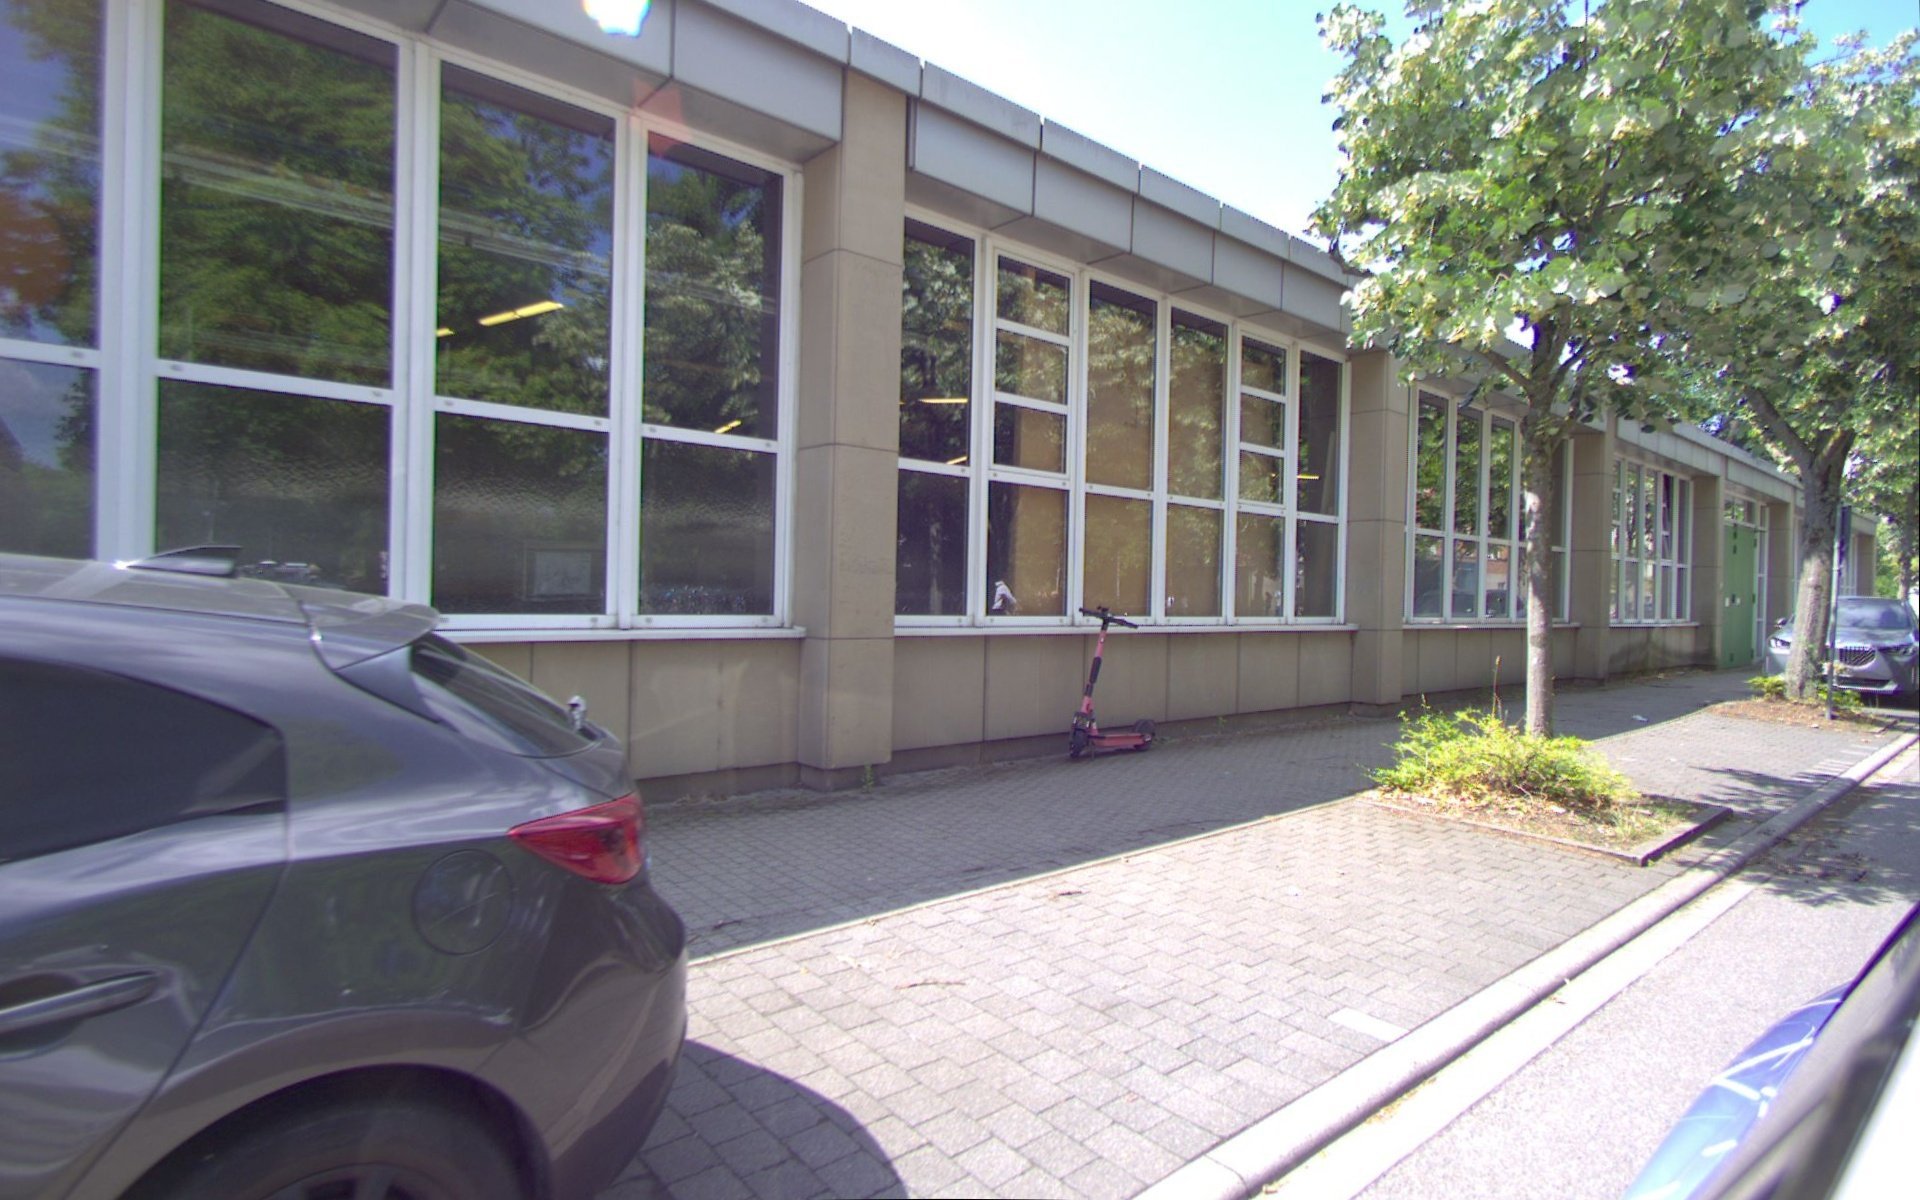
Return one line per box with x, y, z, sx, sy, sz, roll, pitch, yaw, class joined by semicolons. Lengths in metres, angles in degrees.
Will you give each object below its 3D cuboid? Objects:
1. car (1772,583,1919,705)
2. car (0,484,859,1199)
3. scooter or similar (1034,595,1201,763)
14.787;0.639;16.424;4.506;1.684;1.825;1;2;-43;car
-2.463;0.549;1.345;4.383;1.495;1.784;1;2;-41;car
1.338;0.614;8.447;1.459;1.265;0.512;1;2;-41;scooter or similar
